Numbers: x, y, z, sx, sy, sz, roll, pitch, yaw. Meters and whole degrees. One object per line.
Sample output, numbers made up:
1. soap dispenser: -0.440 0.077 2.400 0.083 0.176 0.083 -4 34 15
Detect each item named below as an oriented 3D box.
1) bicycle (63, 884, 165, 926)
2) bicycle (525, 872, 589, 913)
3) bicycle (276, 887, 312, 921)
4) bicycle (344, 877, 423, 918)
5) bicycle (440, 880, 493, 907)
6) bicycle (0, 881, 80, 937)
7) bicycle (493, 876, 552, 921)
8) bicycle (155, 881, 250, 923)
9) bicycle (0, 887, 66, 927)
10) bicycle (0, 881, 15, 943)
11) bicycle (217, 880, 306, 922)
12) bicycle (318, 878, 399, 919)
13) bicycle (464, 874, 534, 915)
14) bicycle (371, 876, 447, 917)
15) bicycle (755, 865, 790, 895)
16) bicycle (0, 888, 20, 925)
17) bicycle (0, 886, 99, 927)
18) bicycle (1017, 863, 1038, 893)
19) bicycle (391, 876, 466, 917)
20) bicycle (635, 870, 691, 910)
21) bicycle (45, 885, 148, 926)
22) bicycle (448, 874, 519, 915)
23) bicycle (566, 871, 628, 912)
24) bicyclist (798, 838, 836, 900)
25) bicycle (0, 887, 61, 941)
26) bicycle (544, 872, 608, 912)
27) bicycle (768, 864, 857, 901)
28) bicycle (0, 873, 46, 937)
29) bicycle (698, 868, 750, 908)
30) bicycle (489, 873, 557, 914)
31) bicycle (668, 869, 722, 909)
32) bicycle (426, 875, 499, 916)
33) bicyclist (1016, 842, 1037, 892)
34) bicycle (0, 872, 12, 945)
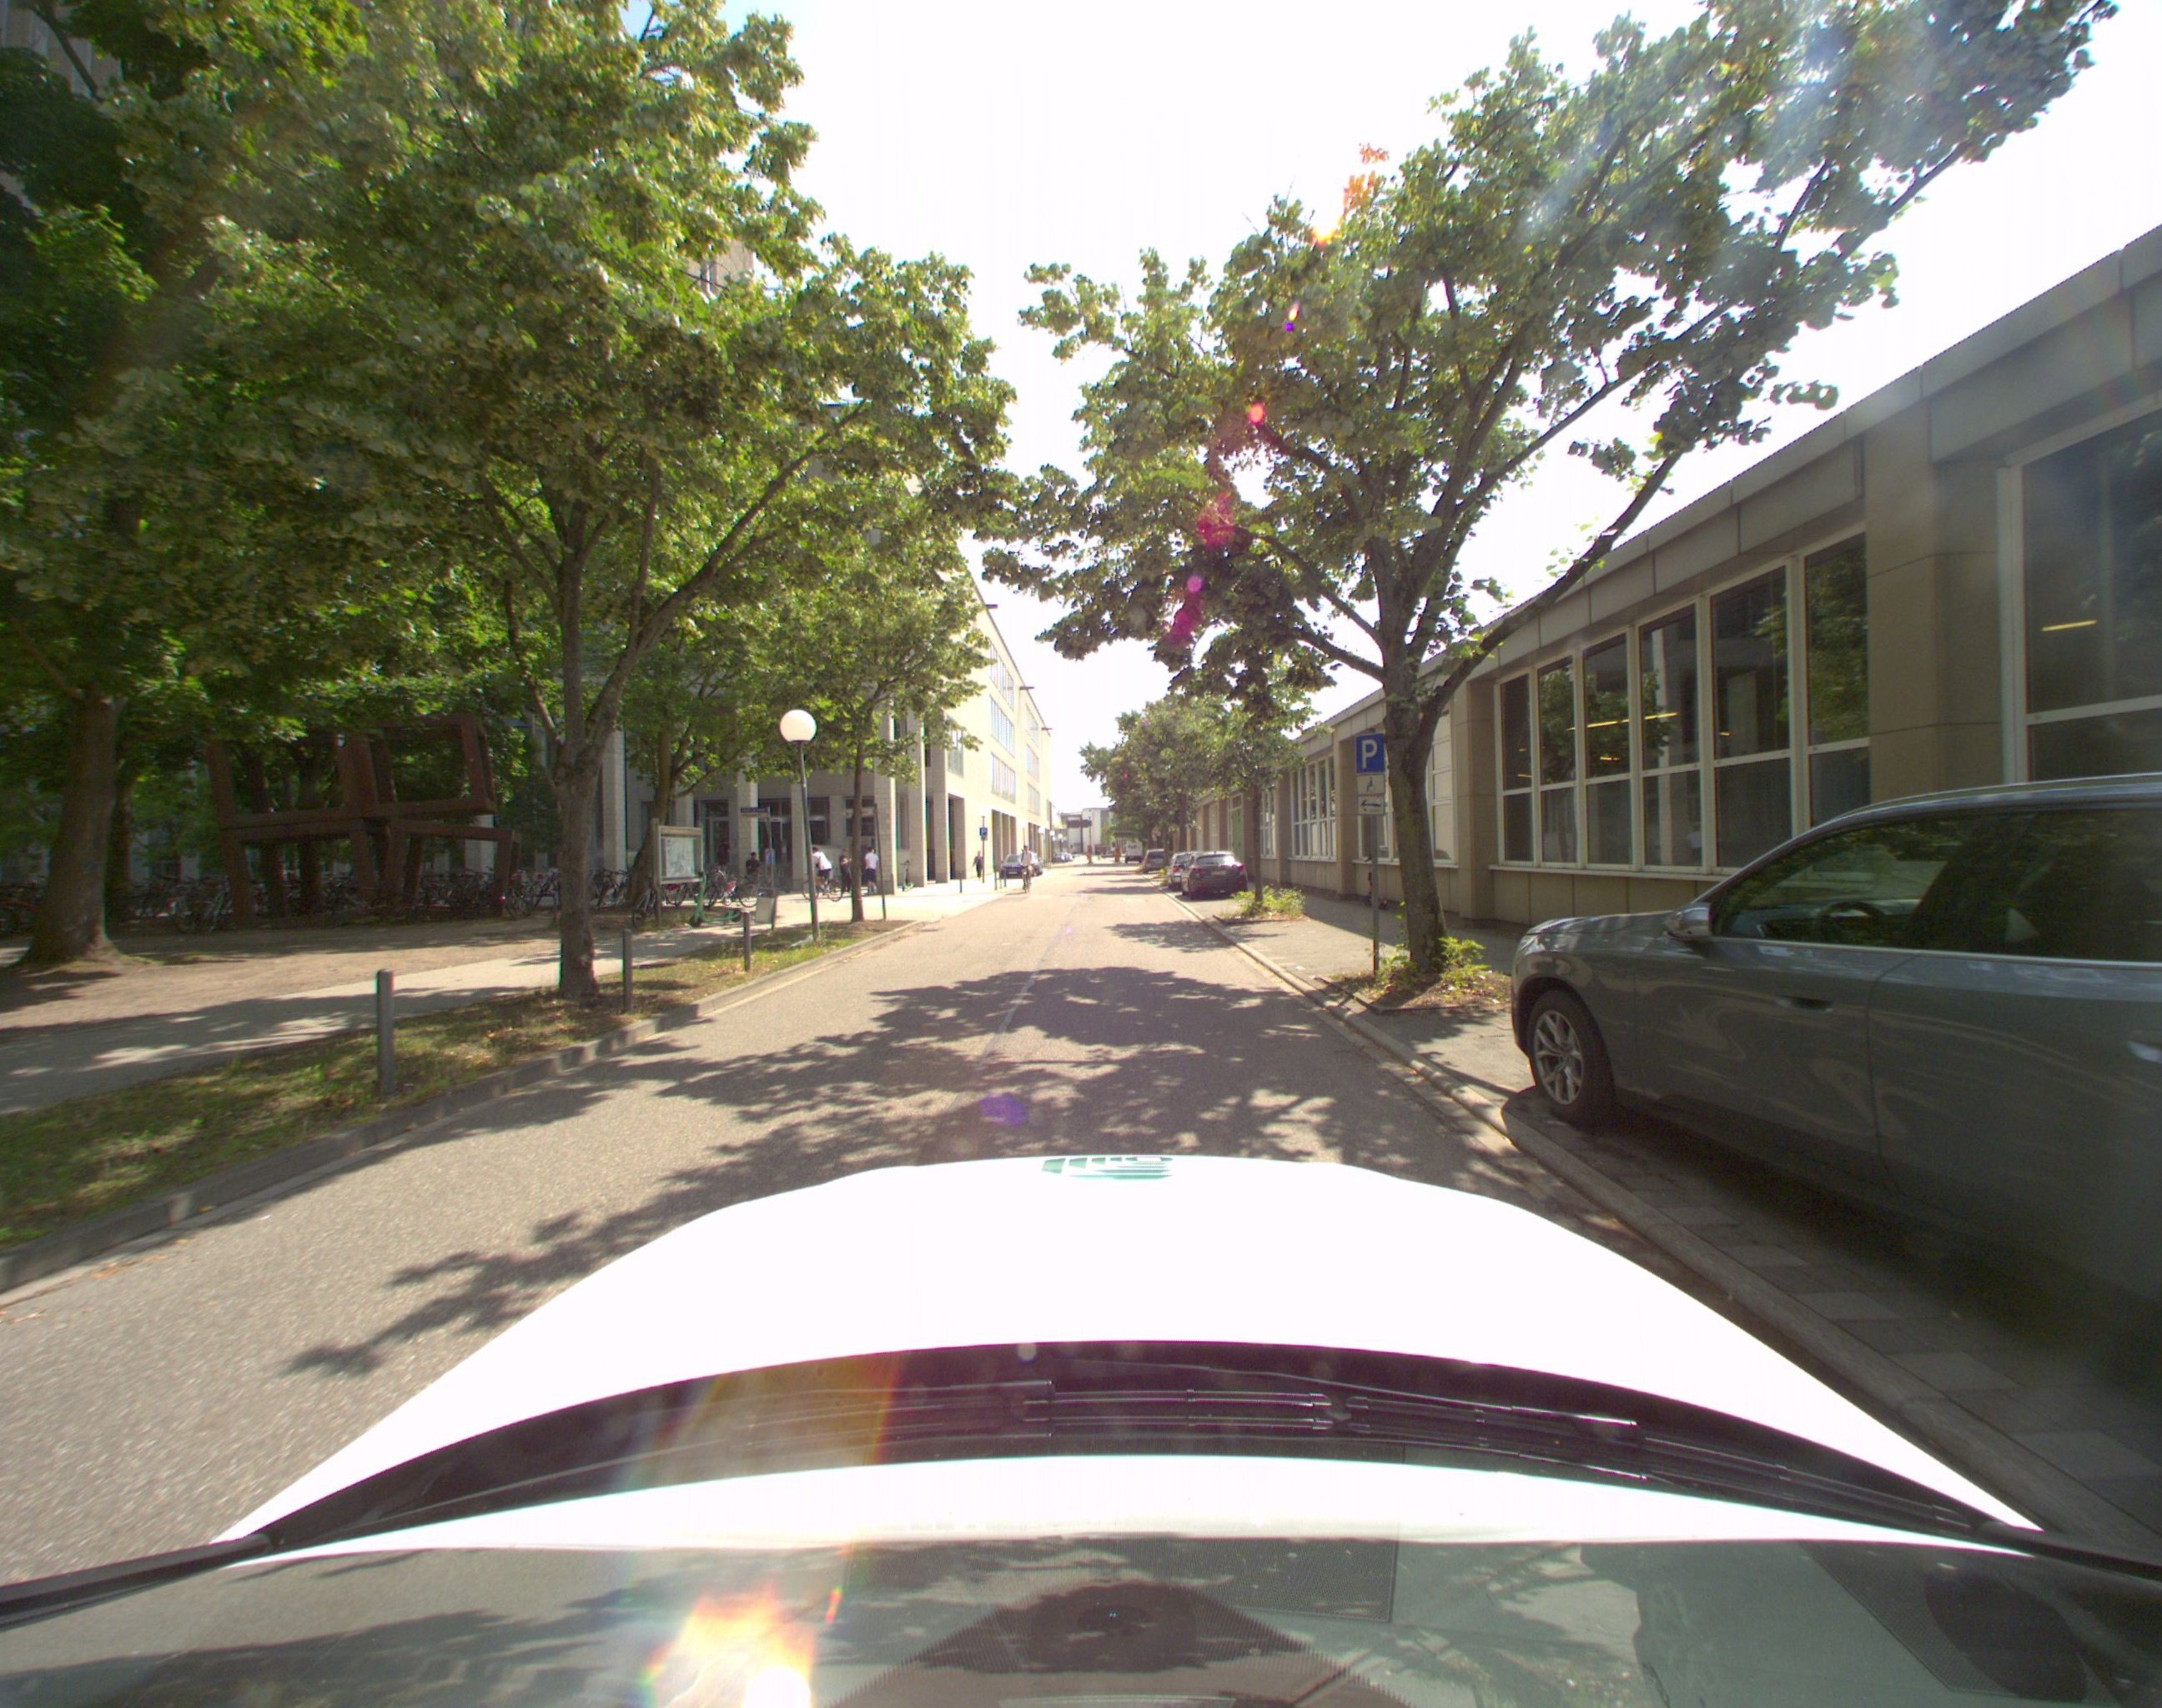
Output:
1. bicycle: -28.191 1.459 23.791 0.550 1.086 1.974 1 0 2
2. bicycle: -15.333 1.107 23.889 0.550 1.086 1.974 1 0 2
3. bicycle: -20.246 1.274 20.973 0.324 0.763 1.545 0 0 -31
4. bicycle: -20.404 1.247 23.882 0.550 1.086 1.974 1 0 2
5. bicycle: -24.250 1.530 32.185 0.523 0.946 1.994 -1 0 1
6. bicycle: -23.698 1.201 17.341 2.927 1.156 0.734 0 0 -41
7. bicycle: -13.137 1.020 19.204 0.475 0.965 1.651 -1 0 -9
8. bicycle: -25.302 1.370 23.509 0.550 1.086 1.974 1 0 2
9. bicycle: -31.328 1.549 23.902 0.550 1.086 1.974 1 0 2
10. bicycle: -21.220 1.049 14.260 2.976 1.126 0.734 2 -2 -41
11. bicycle: -23.781 1.334 23.683 0.550 1.086 1.974 1 0 2
12. bicycle: -21.128 1.266 23.871 0.550 1.086 1.974 1 0 2
13. bicycle: -16.880 1.143 23.686 0.550 1.086 1.974 1 0 2
14. bicycle: -19.768 1.233 24.003 0.550 1.086 1.974 1 0 2
15. bicycle: -11.896 0.997 31.469 0.462 1.014 1.868 0 2 6
16. bicycle: -32.841 1.594 23.981 0.550 1.086 1.974 1 0 2
17. bicycle: -30.680 1.541 24.206 0.550 1.086 1.974 1 0 2
18. bicycle: -2.209 0.978 33.784 0.683 1.130 1.888 -2 0 0
19. bicycle: -18.995 1.204 23.767 0.550 1.086 1.974 1 0 2
20. bicycle: -12.359 1.032 24.132 0.550 1.086 1.974 1 0 2
21. bicycle: -28.857 1.482 23.922 0.550 1.086 1.974 1 0 2
22. bicycle: -17.451 1.164 23.855 0.550 1.086 1.974 1 0 2
23. bicycle: -14.081 1.068 23.764 0.550 1.086 1.974 1 0 2
24. bicyclist: -8.779 0.485 27.107 0.841 2.013 0.879 -1 0 13
25. bicycle: -22.946 1.221 16.467 2.777 1.069 0.734 2 -2 -41
26. bicycle: -14.688 1.084 23.749 0.550 1.086 1.974 1 0 2
27. bicycle: -8.926 0.950 27.139 2.721 1.199 0.888 -1 0 13
28. bicycle: -22.126 1.029 15.527 2.852 1.233 0.734 -1 0 -41
29. bicycle: -10.320 0.959 23.599 0.550 1.086 1.974 1 0 2
30. bicycle: -16.181 1.124 23.684 0.550 1.086 1.974 1 0 2
31. bicycle: -11.261 0.991 23.812 0.550 1.086 1.974 1 0 2
32. bicycle: -18.061 1.180 23.842 0.550 1.086 1.974 1 0 2
33. bicyclist: -2.256 0.535 33.580 0.709 2.013 1.018 -3 0 -1
34. bicycle: -20.360 0.983 13.477 3.099 1.297 0.872 -1 0 -41
